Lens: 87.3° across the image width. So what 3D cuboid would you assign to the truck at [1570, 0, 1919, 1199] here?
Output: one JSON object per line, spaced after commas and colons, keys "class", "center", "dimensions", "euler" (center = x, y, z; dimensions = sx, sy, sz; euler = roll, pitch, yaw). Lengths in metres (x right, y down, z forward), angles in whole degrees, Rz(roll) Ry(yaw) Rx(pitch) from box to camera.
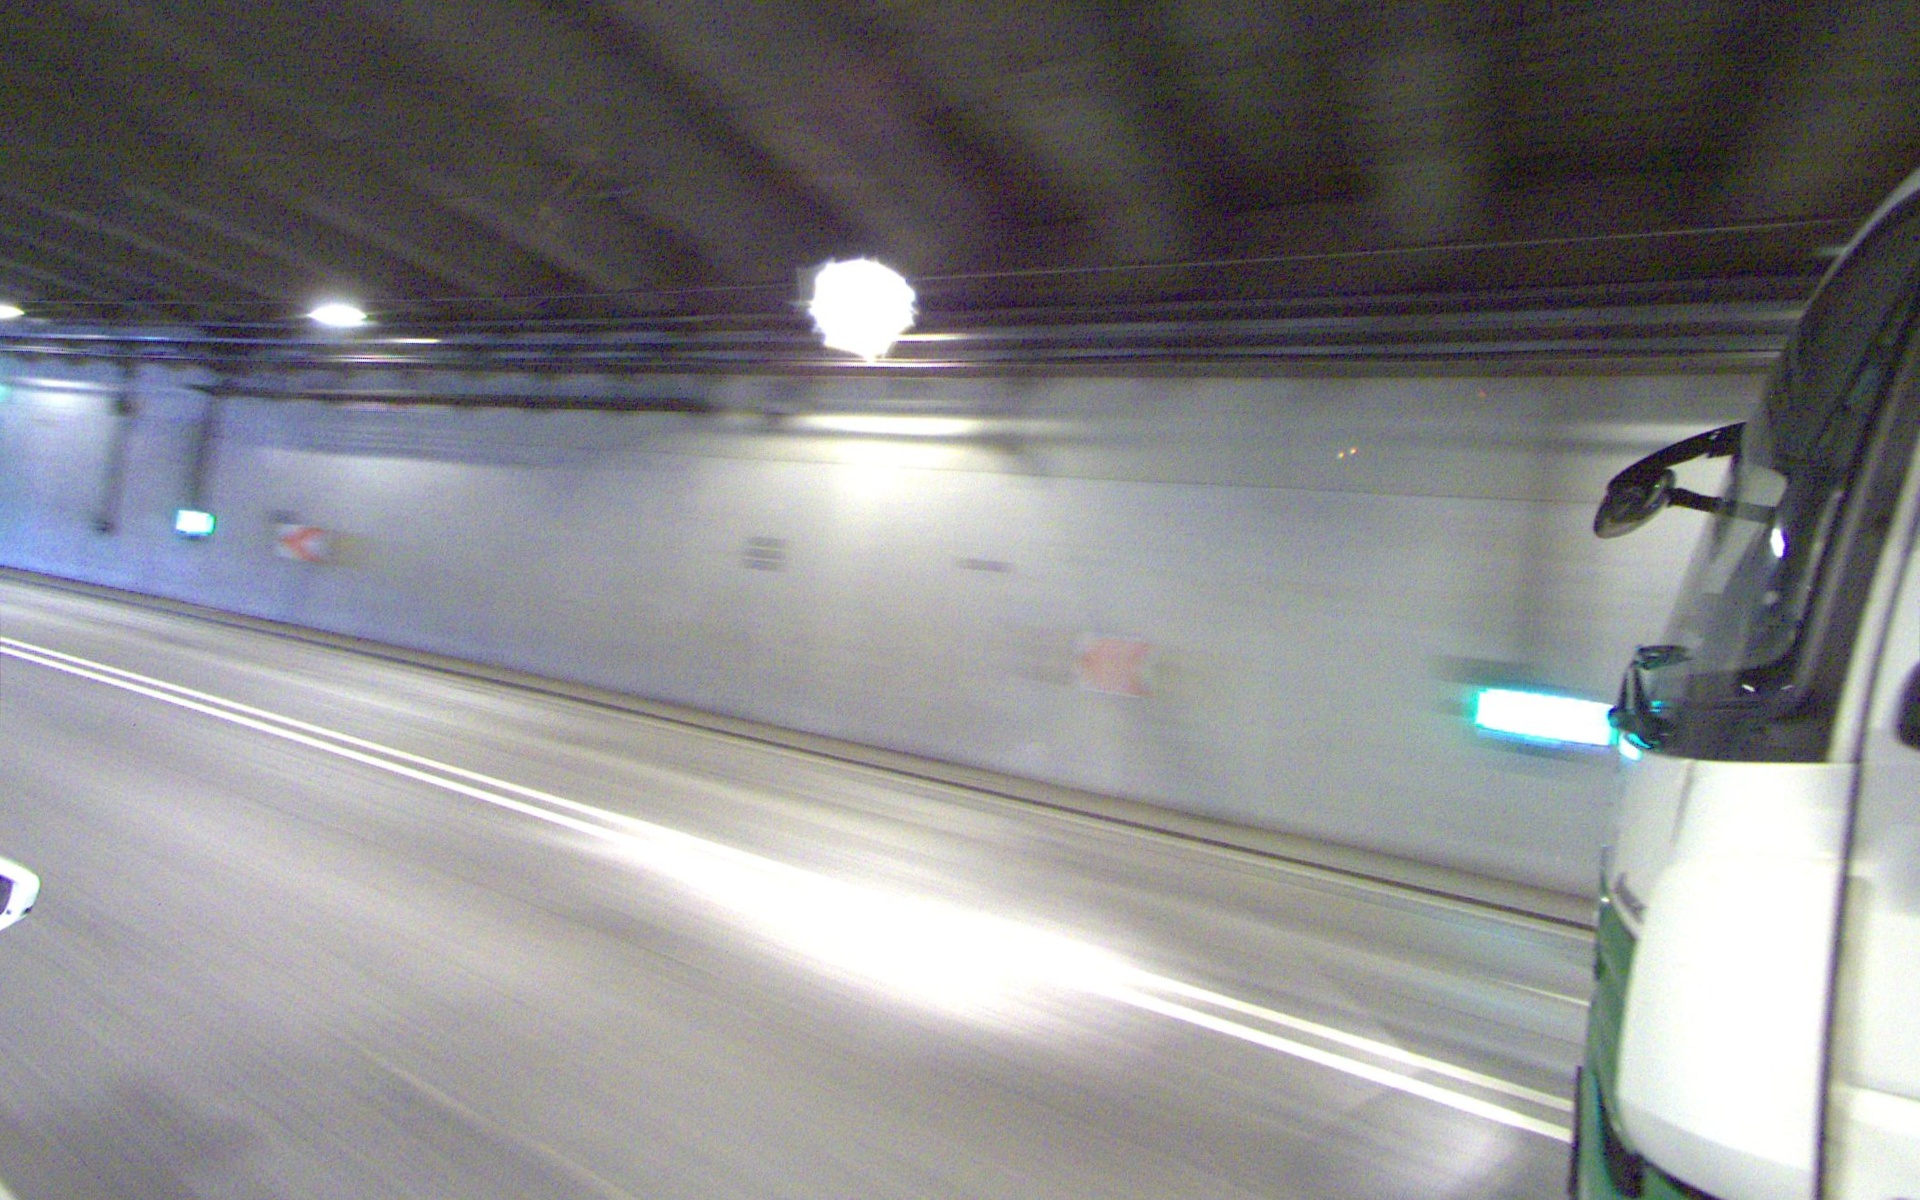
{"class": "truck", "center": [4.549, 0.459, 0.380], "dimensions": [7.128, 3.219, 2.557], "euler": [6, -1, 33]}
